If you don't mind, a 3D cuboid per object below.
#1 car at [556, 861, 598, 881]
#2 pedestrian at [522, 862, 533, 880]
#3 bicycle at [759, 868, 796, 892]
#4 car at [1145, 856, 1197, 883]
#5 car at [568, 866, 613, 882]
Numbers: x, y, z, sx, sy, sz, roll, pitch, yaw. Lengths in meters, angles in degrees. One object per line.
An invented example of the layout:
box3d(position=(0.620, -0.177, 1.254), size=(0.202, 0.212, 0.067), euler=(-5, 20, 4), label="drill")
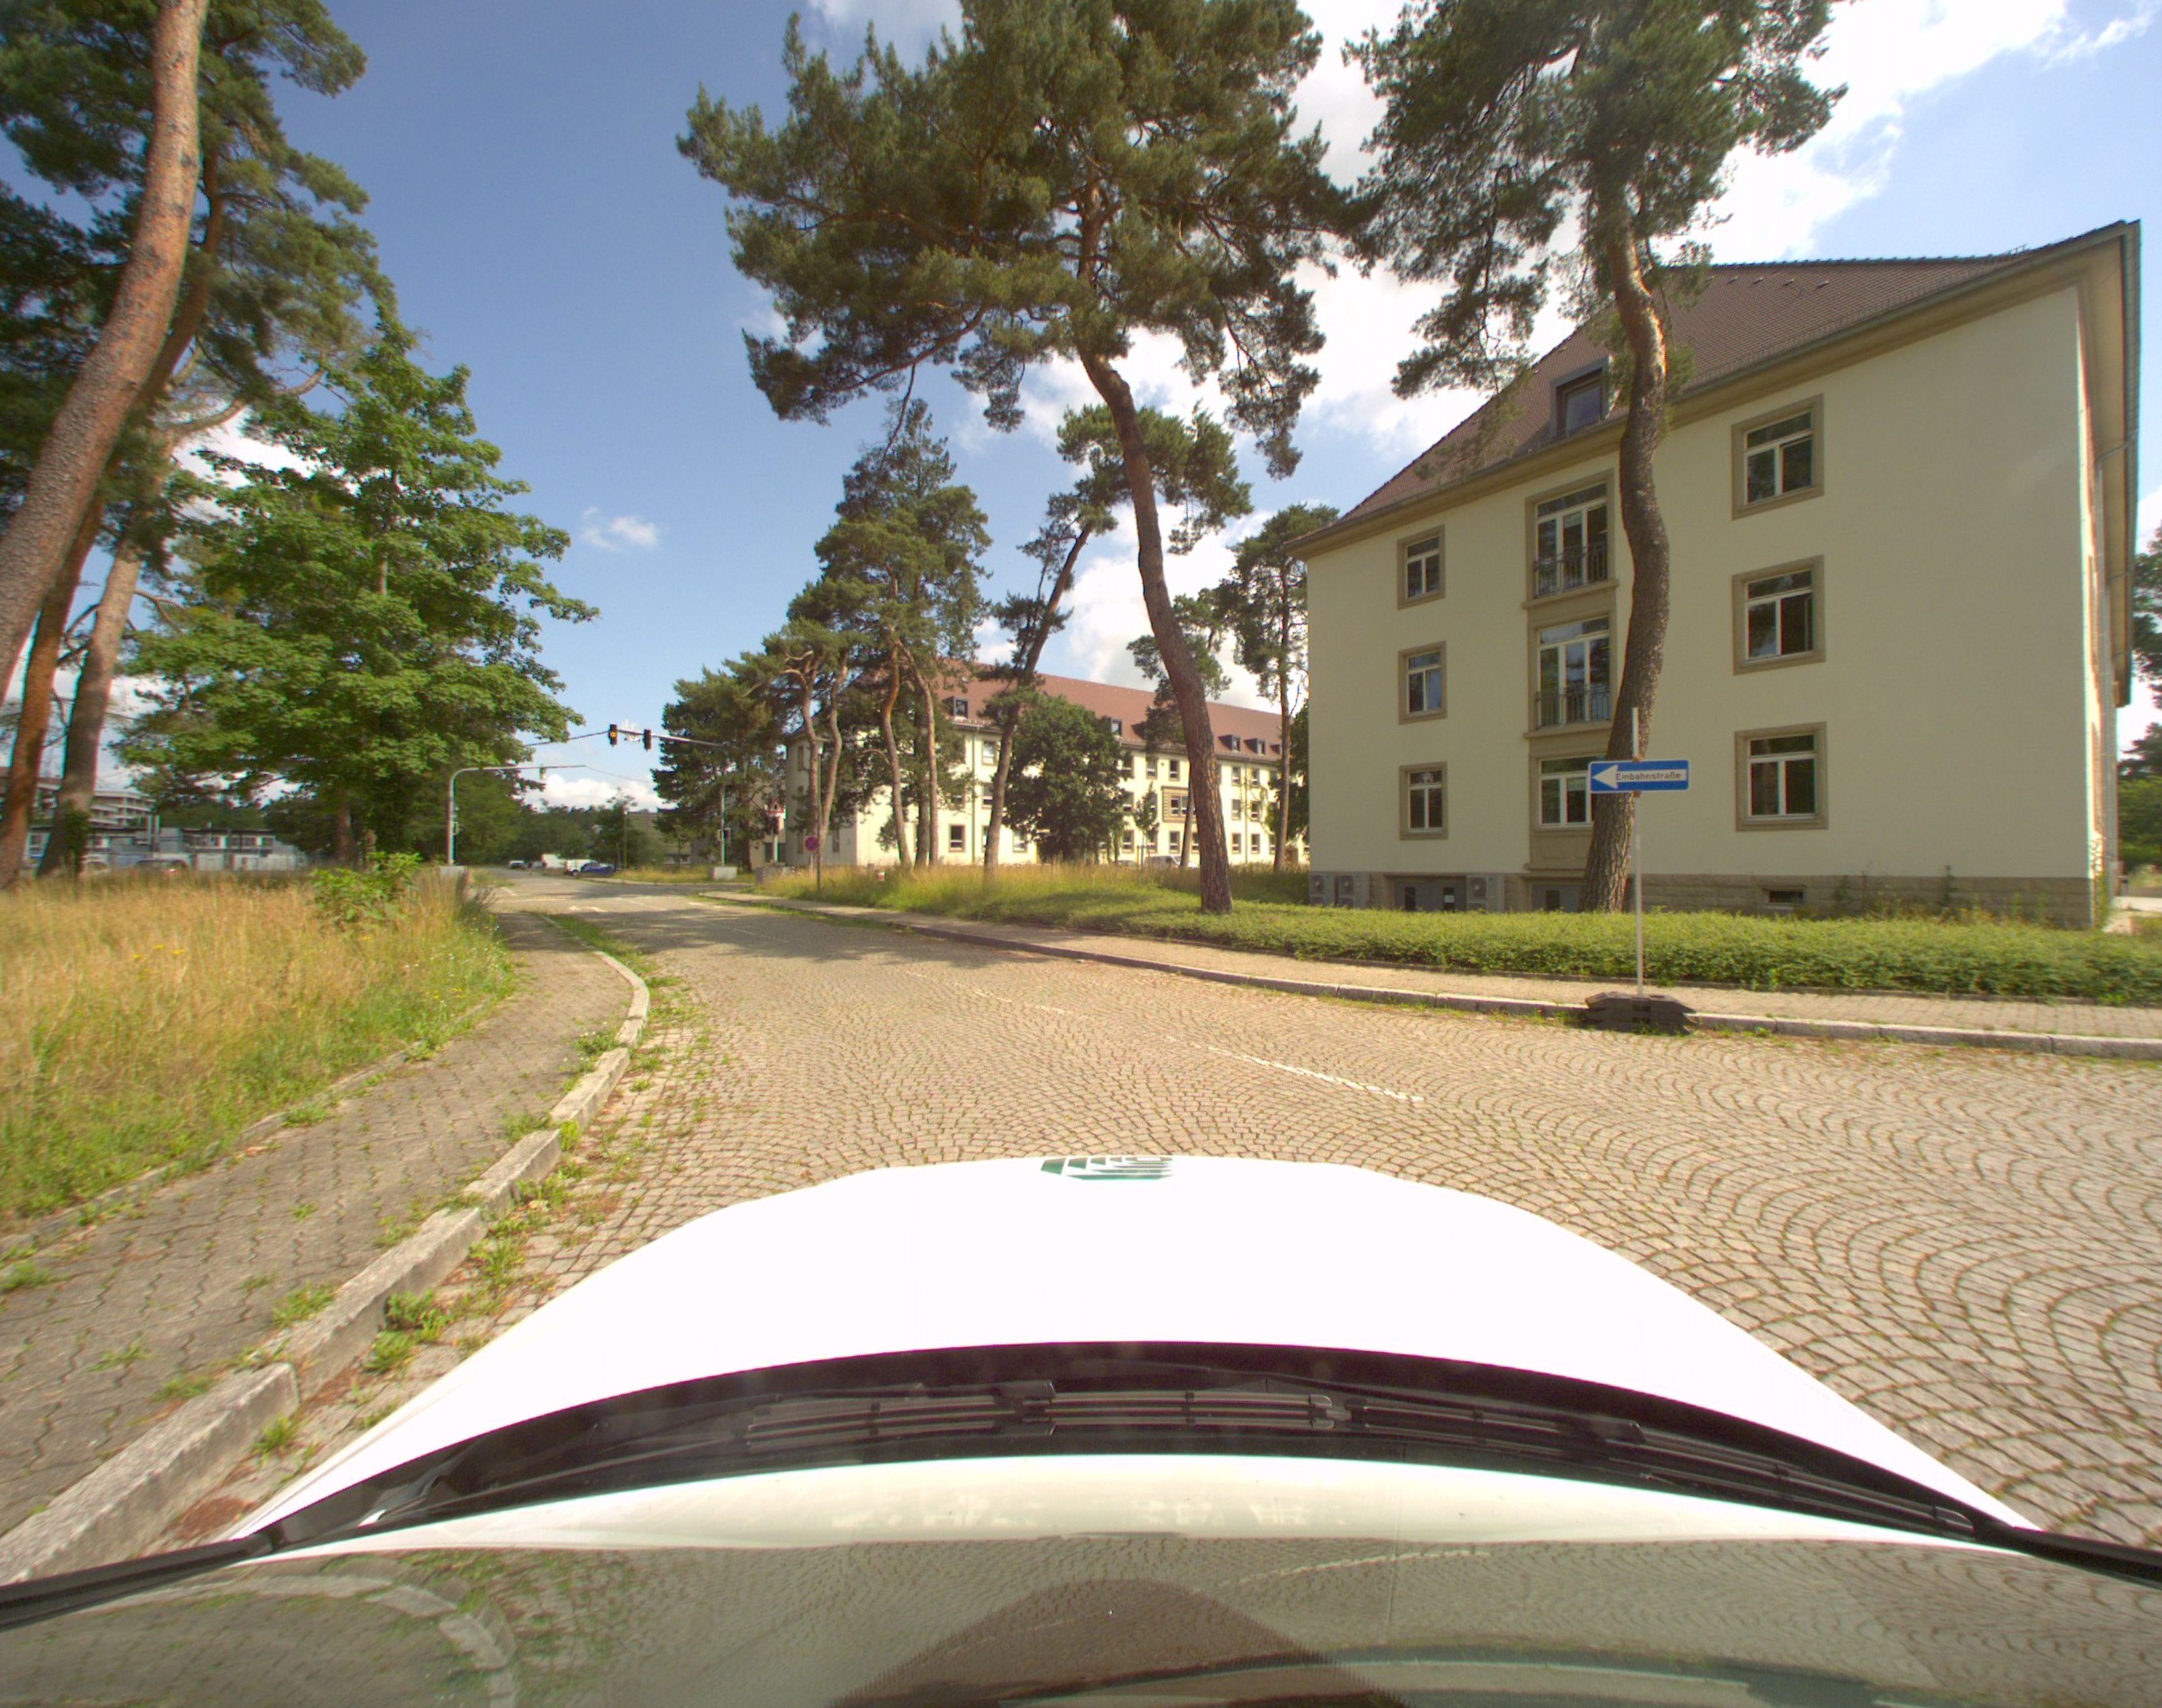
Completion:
box3d(position=(-54.105, 1.834, 87.554), size=(3.701, 2.088, 1.714), euler=(0, -1, -29), label="car")
box3d(position=(-64.234, 1.990, 94.507), size=(0.971, 2.014, 1.044), euler=(1, -1, -30), label="pedestrian")
box3d(position=(-14.232, 1.195, 38.214), size=(1.589, 1.101, 0.487), euler=(1, -1, -27), label="bicycle")
box3d(position=(6.850, 1.164, 62.357), size=(1.721, 1.992, 4.027), euler=(1, -1, -37), label="car")
box3d(position=(-48.447, 1.984, 80.462), size=(3.701, 1.503, 1.714), euler=(0, -1, -29), label="car")
